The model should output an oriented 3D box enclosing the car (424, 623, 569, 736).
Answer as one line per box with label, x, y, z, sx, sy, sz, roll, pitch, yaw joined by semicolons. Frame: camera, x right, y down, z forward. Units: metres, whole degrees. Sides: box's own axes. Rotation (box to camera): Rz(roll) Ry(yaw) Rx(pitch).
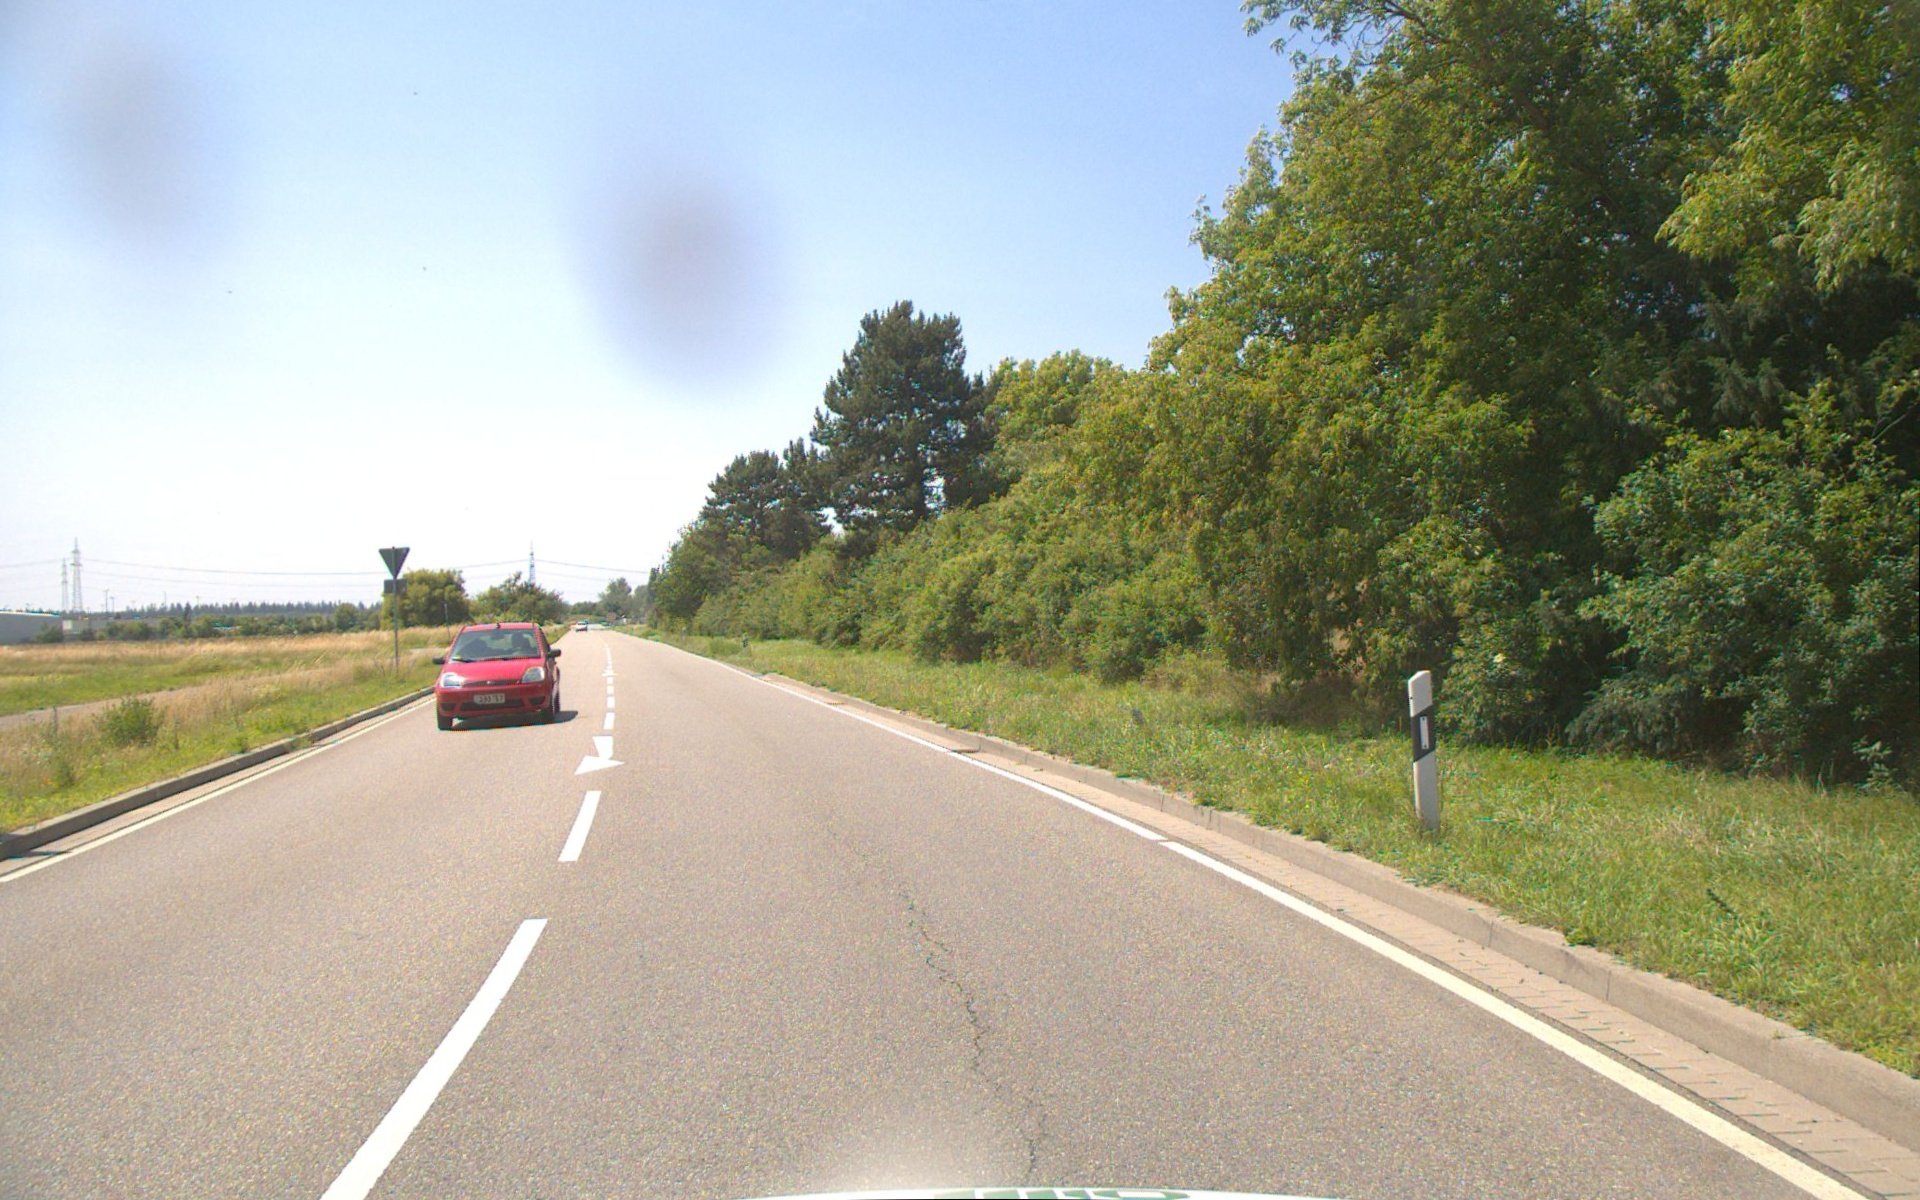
car;-6.908;1.134;24.950;1.625;1.458;3.727;-3;0;-10
